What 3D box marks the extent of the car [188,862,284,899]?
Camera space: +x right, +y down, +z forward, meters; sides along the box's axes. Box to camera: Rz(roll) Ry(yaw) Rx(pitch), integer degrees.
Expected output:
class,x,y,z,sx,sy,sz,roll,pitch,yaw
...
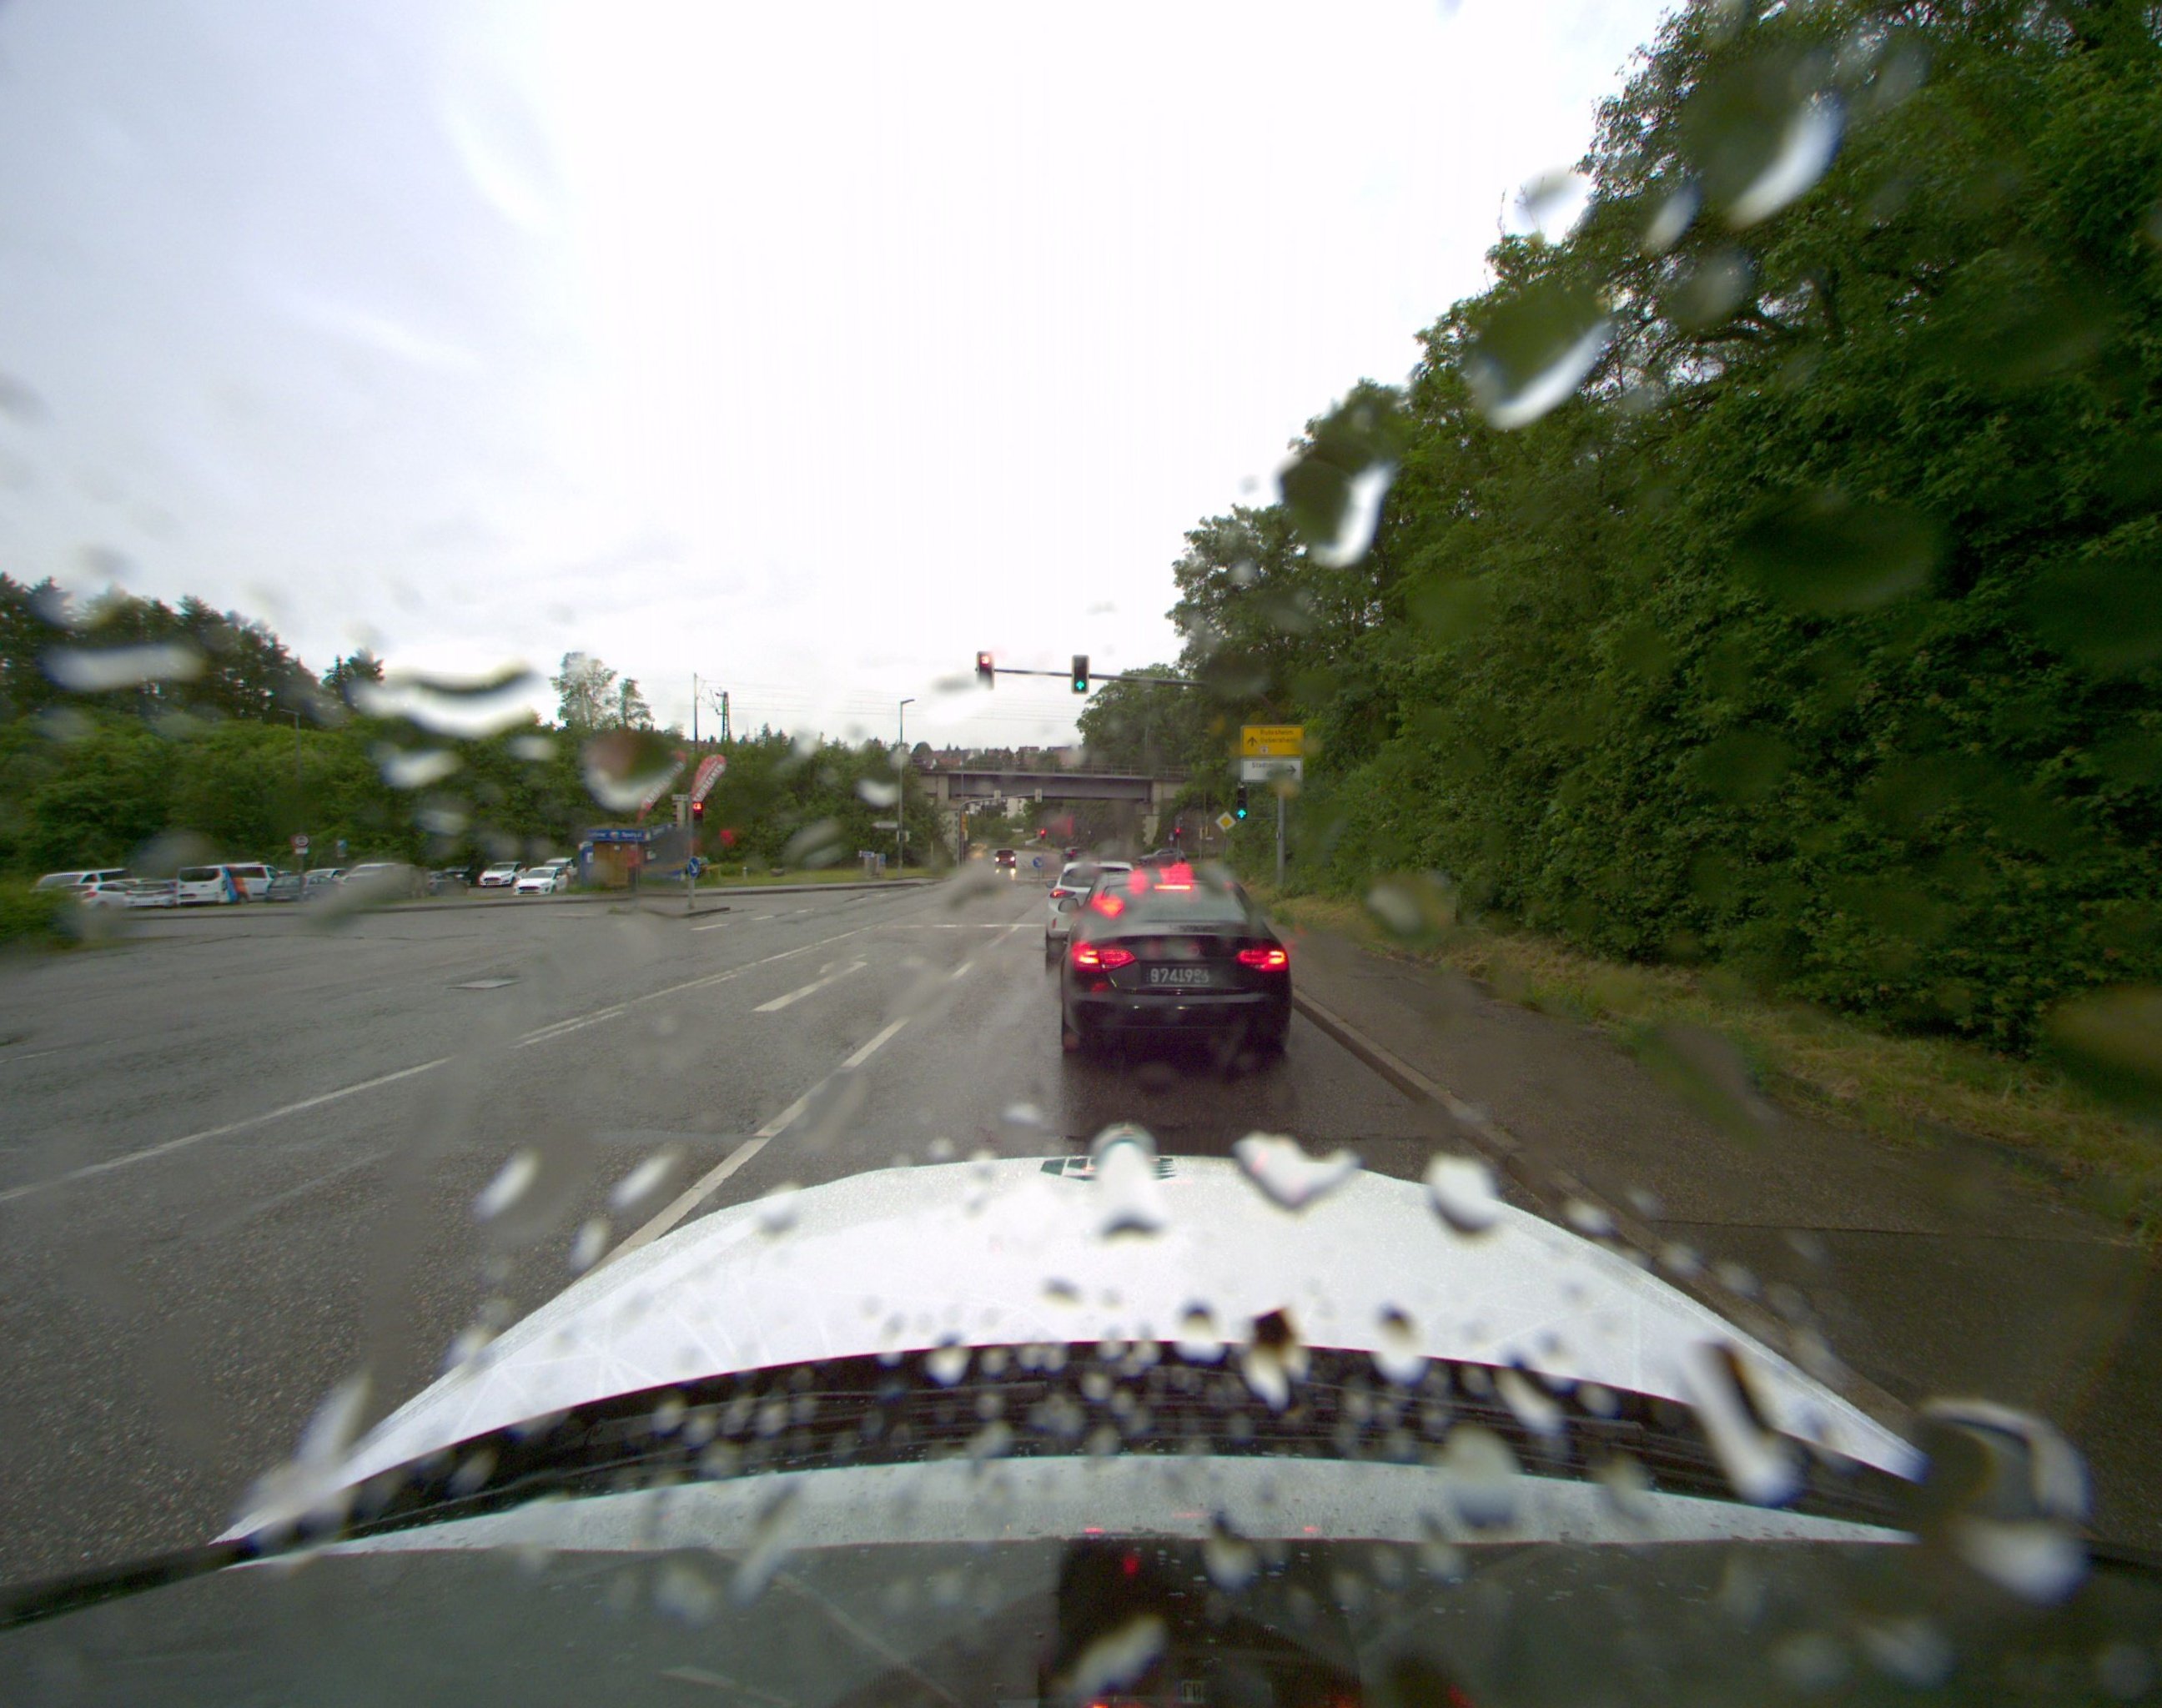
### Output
class,x,y,z,sx,sy,sz,roll,pitch,yaw
car,-49.204,1.520,47.538,1.995,2.013,3.983,-1,0,-12

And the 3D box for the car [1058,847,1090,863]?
class,x,y,z,sx,sy,sz,roll,pitch,yaw
car,-0.734,0.092,82.430,2.000,1.596,3.973,-2,0,-20

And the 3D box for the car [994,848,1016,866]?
class,x,y,z,sx,sy,sz,roll,pitch,yaw
car,-6.993,0.263,75.256,1.990,1.628,3.993,-1,0,-5

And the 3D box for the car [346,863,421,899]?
class,x,y,z,sx,sy,sz,roll,pitch,yaw
car,-42.180,1.589,49.378,1.941,2.013,3.849,0,0,-15

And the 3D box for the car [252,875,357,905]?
class,x,y,z,sx,sy,sz,roll,pitch,yaw
car,-37.173,1.700,39.123,1.751,1.310,3.984,0,-1,-11

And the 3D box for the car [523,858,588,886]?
class,x,y,z,sx,sy,sz,roll,pitch,yaw
car,-32.623,1.076,50.723,1.994,1.585,3.985,-2,0,-11

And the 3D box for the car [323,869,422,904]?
class,x,y,z,sx,sy,sz,roll,pitch,yaw
car,-34.615,1.548,39.928,1.937,1.585,3.892,0,-1,-11

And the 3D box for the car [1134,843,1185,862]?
class,x,y,z,sx,sy,sz,roll,pitch,yaw
car,6.446,-0.129,66.893,3.981,1.470,1.642,1,0,-5

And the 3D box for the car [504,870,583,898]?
class,x,y,z,sx,sy,sz,roll,pitch,yaw
car,-27.760,1.512,42.262,1.652,1.340,4.883,0,-1,-11

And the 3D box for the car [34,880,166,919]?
class,x,y,z,sx,sy,sz,roll,pitch,yaw
car,-44.372,2.005,36.993,1.837,1.585,3.978,0,-1,-16

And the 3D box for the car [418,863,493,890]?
class,x,y,z,sx,sy,sz,roll,pitch,yaw
car,-37.960,1.362,49.562,1.994,1.585,3.984,0,-1,-11

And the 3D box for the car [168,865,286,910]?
class,x,y,z,sx,sy,sz,roll,pitch,yaw
car,-39.452,1.493,37.780,1.997,1.949,3.978,0,-1,-16

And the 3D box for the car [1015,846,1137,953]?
class,x,y,z,sx,sy,sz,roll,pitch,yaw
car,-0.015,0.718,14.207,1.816,1.585,4.001,-1,-1,2

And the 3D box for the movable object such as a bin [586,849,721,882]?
class,x,y,z,sx,sy,sz,roll,pitch,yaw
movable object such as a bin,-22.735,0.620,43.531,2.716,1.628,5.816,-2,-1,41

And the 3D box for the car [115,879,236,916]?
class,x,y,z,sx,sy,sz,roll,pitch,yaw
car,-41.738,1.968,37.701,1.858,1.585,3.978,0,-1,-16

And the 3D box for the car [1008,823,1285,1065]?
class,x,y,z,sx,sy,sz,roll,pitch,yaw
car,0.499,0.650,7.538,1.863,1.617,4.001,-1,-1,2

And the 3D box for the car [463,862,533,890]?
class,x,y,z,sx,sy,sz,roll,pitch,yaw
car,-35.546,1.337,49.802,1.994,1.585,3.984,0,-1,-11

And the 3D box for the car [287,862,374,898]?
class,x,y,z,sx,sy,sz,roll,pitch,yaw
car,-44.779,1.519,48.700,1.995,2.013,3.983,-2,0,-12
